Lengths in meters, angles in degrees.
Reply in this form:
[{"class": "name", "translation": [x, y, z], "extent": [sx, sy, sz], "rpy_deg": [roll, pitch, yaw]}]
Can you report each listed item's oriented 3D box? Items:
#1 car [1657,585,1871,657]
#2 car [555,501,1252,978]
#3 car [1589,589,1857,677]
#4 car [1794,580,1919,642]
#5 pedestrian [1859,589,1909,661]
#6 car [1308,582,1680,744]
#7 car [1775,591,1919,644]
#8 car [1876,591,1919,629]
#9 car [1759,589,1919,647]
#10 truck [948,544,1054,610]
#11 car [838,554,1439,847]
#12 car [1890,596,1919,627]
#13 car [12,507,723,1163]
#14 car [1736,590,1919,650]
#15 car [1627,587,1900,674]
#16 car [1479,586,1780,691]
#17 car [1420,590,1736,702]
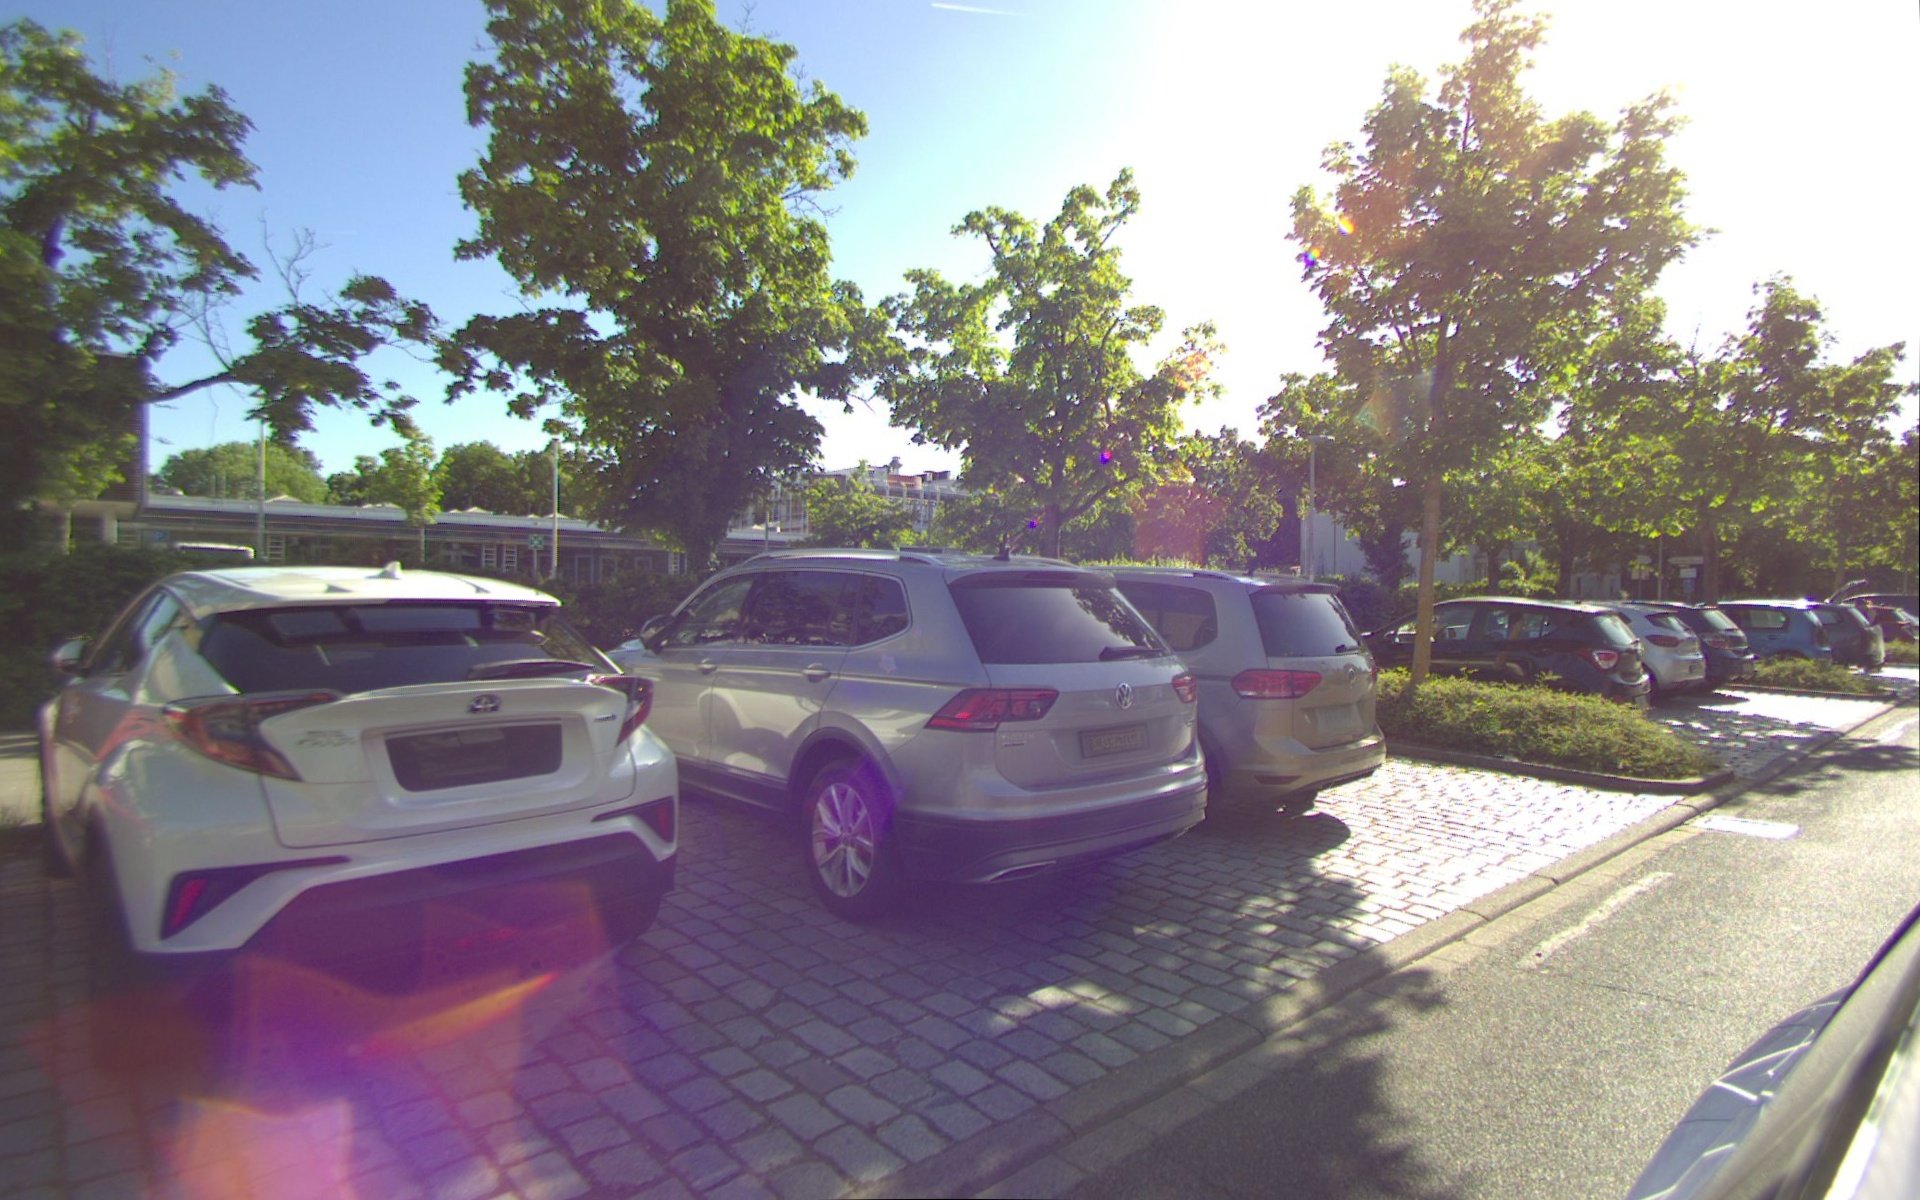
[{"class": "car", "translation": [19.713, 0.475, 24.933], "extent": [1.651, 1.598, 3.904], "rpy_deg": [2, 0, -42]}, {"class": "car", "translation": [-0.592, 0.487, 5.748], "extent": [1.907, 1.717, 3.904], "rpy_deg": [2, 0, -42]}, {"class": "car", "translation": [14.589, 0.576, 19.514], "extent": [1.593, 1.486, 3.904], "rpy_deg": [2, 0, -42]}, {"class": "car", "translation": [30.138, 0.351, 33.068], "extent": [1.847, 1.869, 4.163], "rpy_deg": [0, 2, -40]}, {"class": "pedestrian", "translation": [21.049, 0.559, 23.051], "extent": [0.662, 1.599, 0.765], "rpy_deg": [2, -1, -41]}, {"class": "car", "translation": [6.094, 0.591, 11.801], "extent": [1.717, 1.507, 3.458], "rpy_deg": [-1, 3, -42]}, {"class": "car", "translation": [27.696, 0.510, 30.878], "extent": [1.798, 1.423, 4.161], "rpy_deg": [0, 2, -42]}, {"class": "car", "translation": [43.478, 0.490, 44.806], "extent": [1.798, 1.618, 4.161], "rpy_deg": [0, 2, -42]}, {"class": "car", "translation": [25.687, 0.498, 29.172], "extent": [1.777, 1.454, 3.905], "rpy_deg": [1, 2, -42]}, {"class": "truck", "translation": [2.476, -1.387, 63.404], "extent": [2.760, 3.855, 6.918], "rpy_deg": [2, 0, -39]}, {"class": "car", "translation": [1.115, 0.502, 7.852], "extent": [1.880, 1.628, 4.324], "rpy_deg": [0, 1, -44]}, {"class": "car", "translation": [46.921, 0.612, 47.868], "extent": [1.798, 1.423, 4.161], "rpy_deg": [0, 2, -42]}, {"class": "car", "translation": [-2.701, 0.536, 4.249], "extent": [3.498, 1.549, 1.710], "rpy_deg": [1, 0, 45]}, {"class": "car", "translation": [23.365, 0.476, 27.069], "extent": [1.644, 1.444, 3.904], "rpy_deg": [-1, 2, -42]}, {"class": "car", "translation": [16.478, 0.549, 20.917], "extent": [1.707, 1.538, 4.192], "rpy_deg": [0, 1, -42]}, {"class": "car", "translation": [11.194, 0.557, 17.136], "extent": [1.809, 1.516, 3.904], "rpy_deg": [0, 1, -39]}, {"class": "car", "translation": [9.309, 0.596, 15.465], "extent": [1.809, 1.434, 3.741], "rpy_deg": [0, 1, -39]}]
